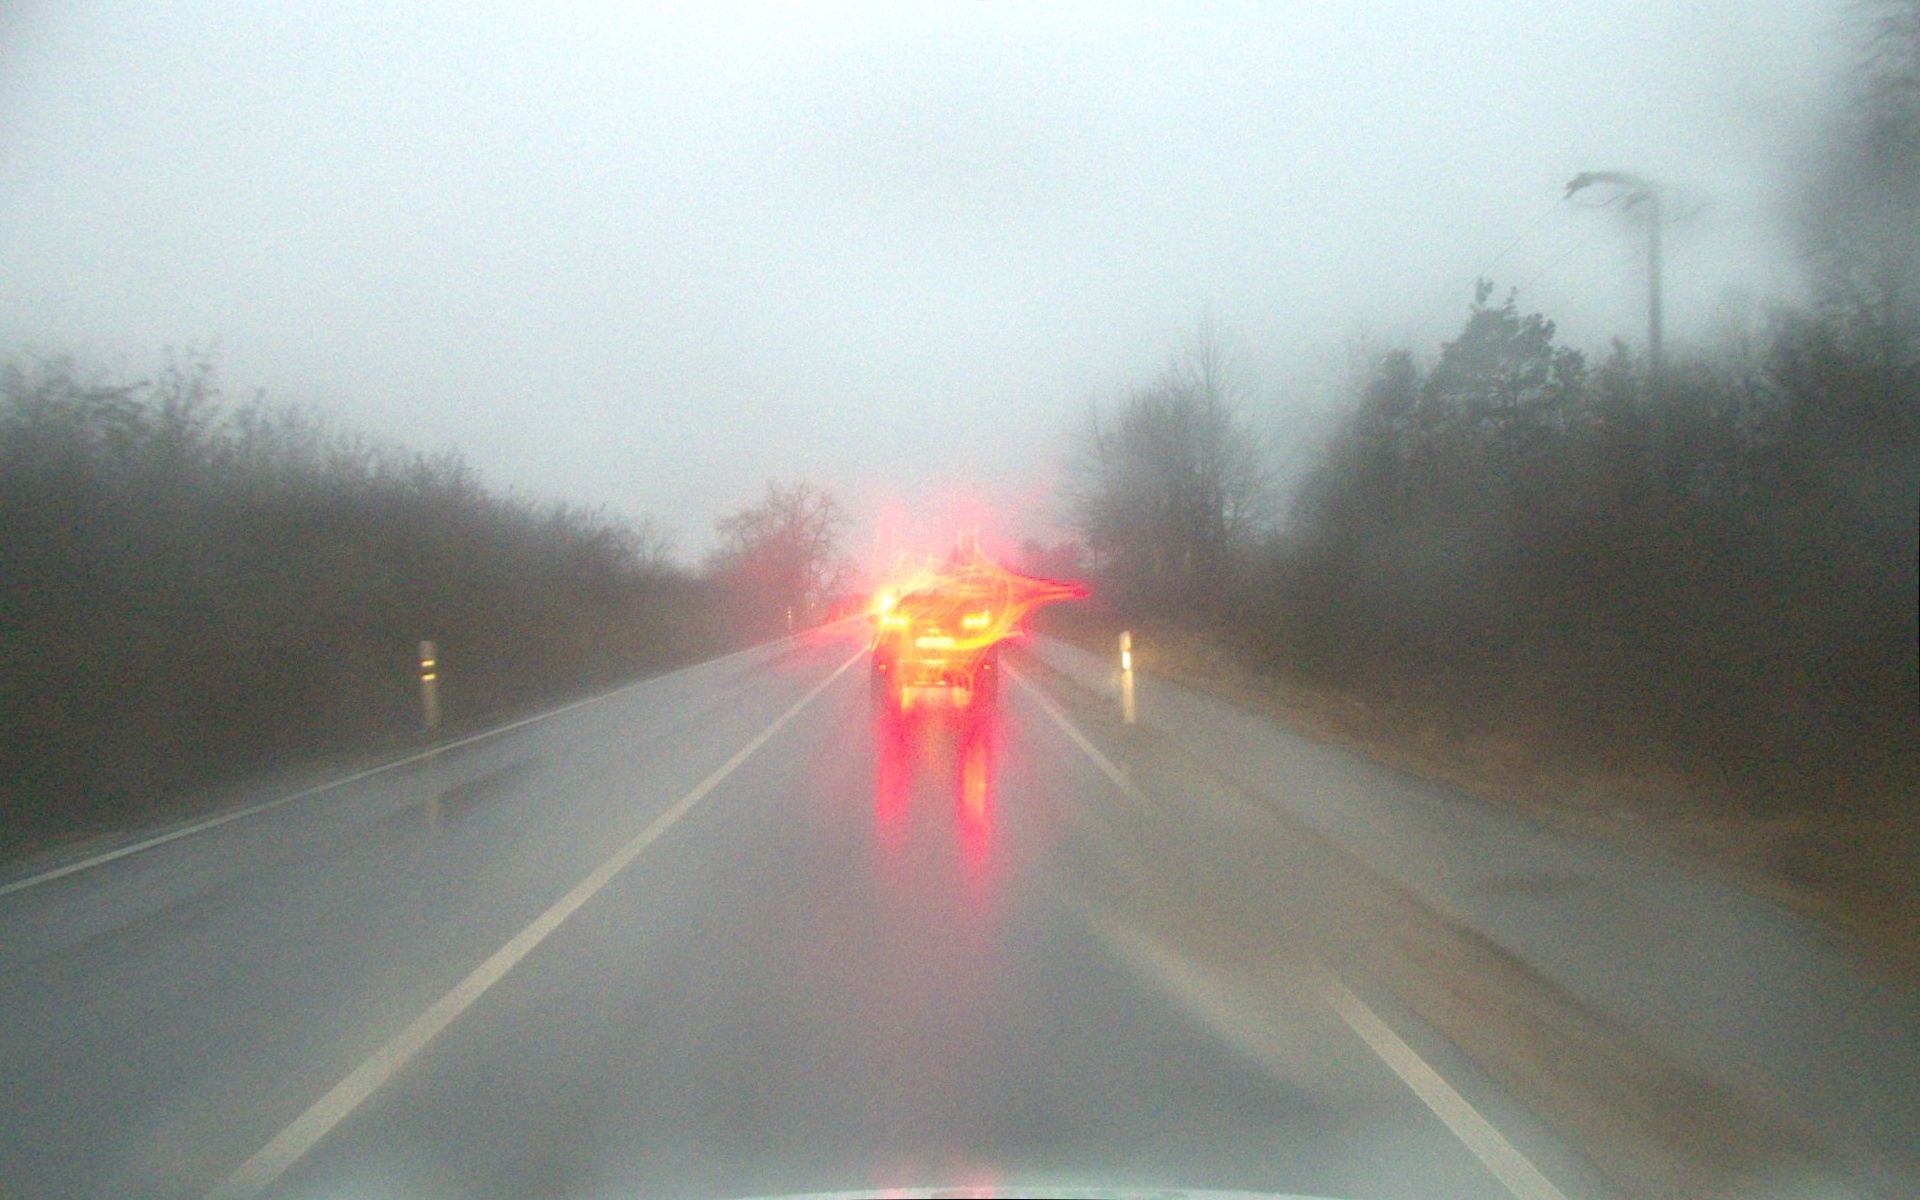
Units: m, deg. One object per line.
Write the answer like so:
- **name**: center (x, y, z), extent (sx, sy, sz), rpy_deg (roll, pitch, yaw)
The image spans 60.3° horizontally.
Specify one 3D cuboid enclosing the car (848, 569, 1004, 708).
- **car**: center (-0.491, 0.501, 24.608), extent (2.077, 1.852, 4.979), rpy_deg (0, 0, -1)
